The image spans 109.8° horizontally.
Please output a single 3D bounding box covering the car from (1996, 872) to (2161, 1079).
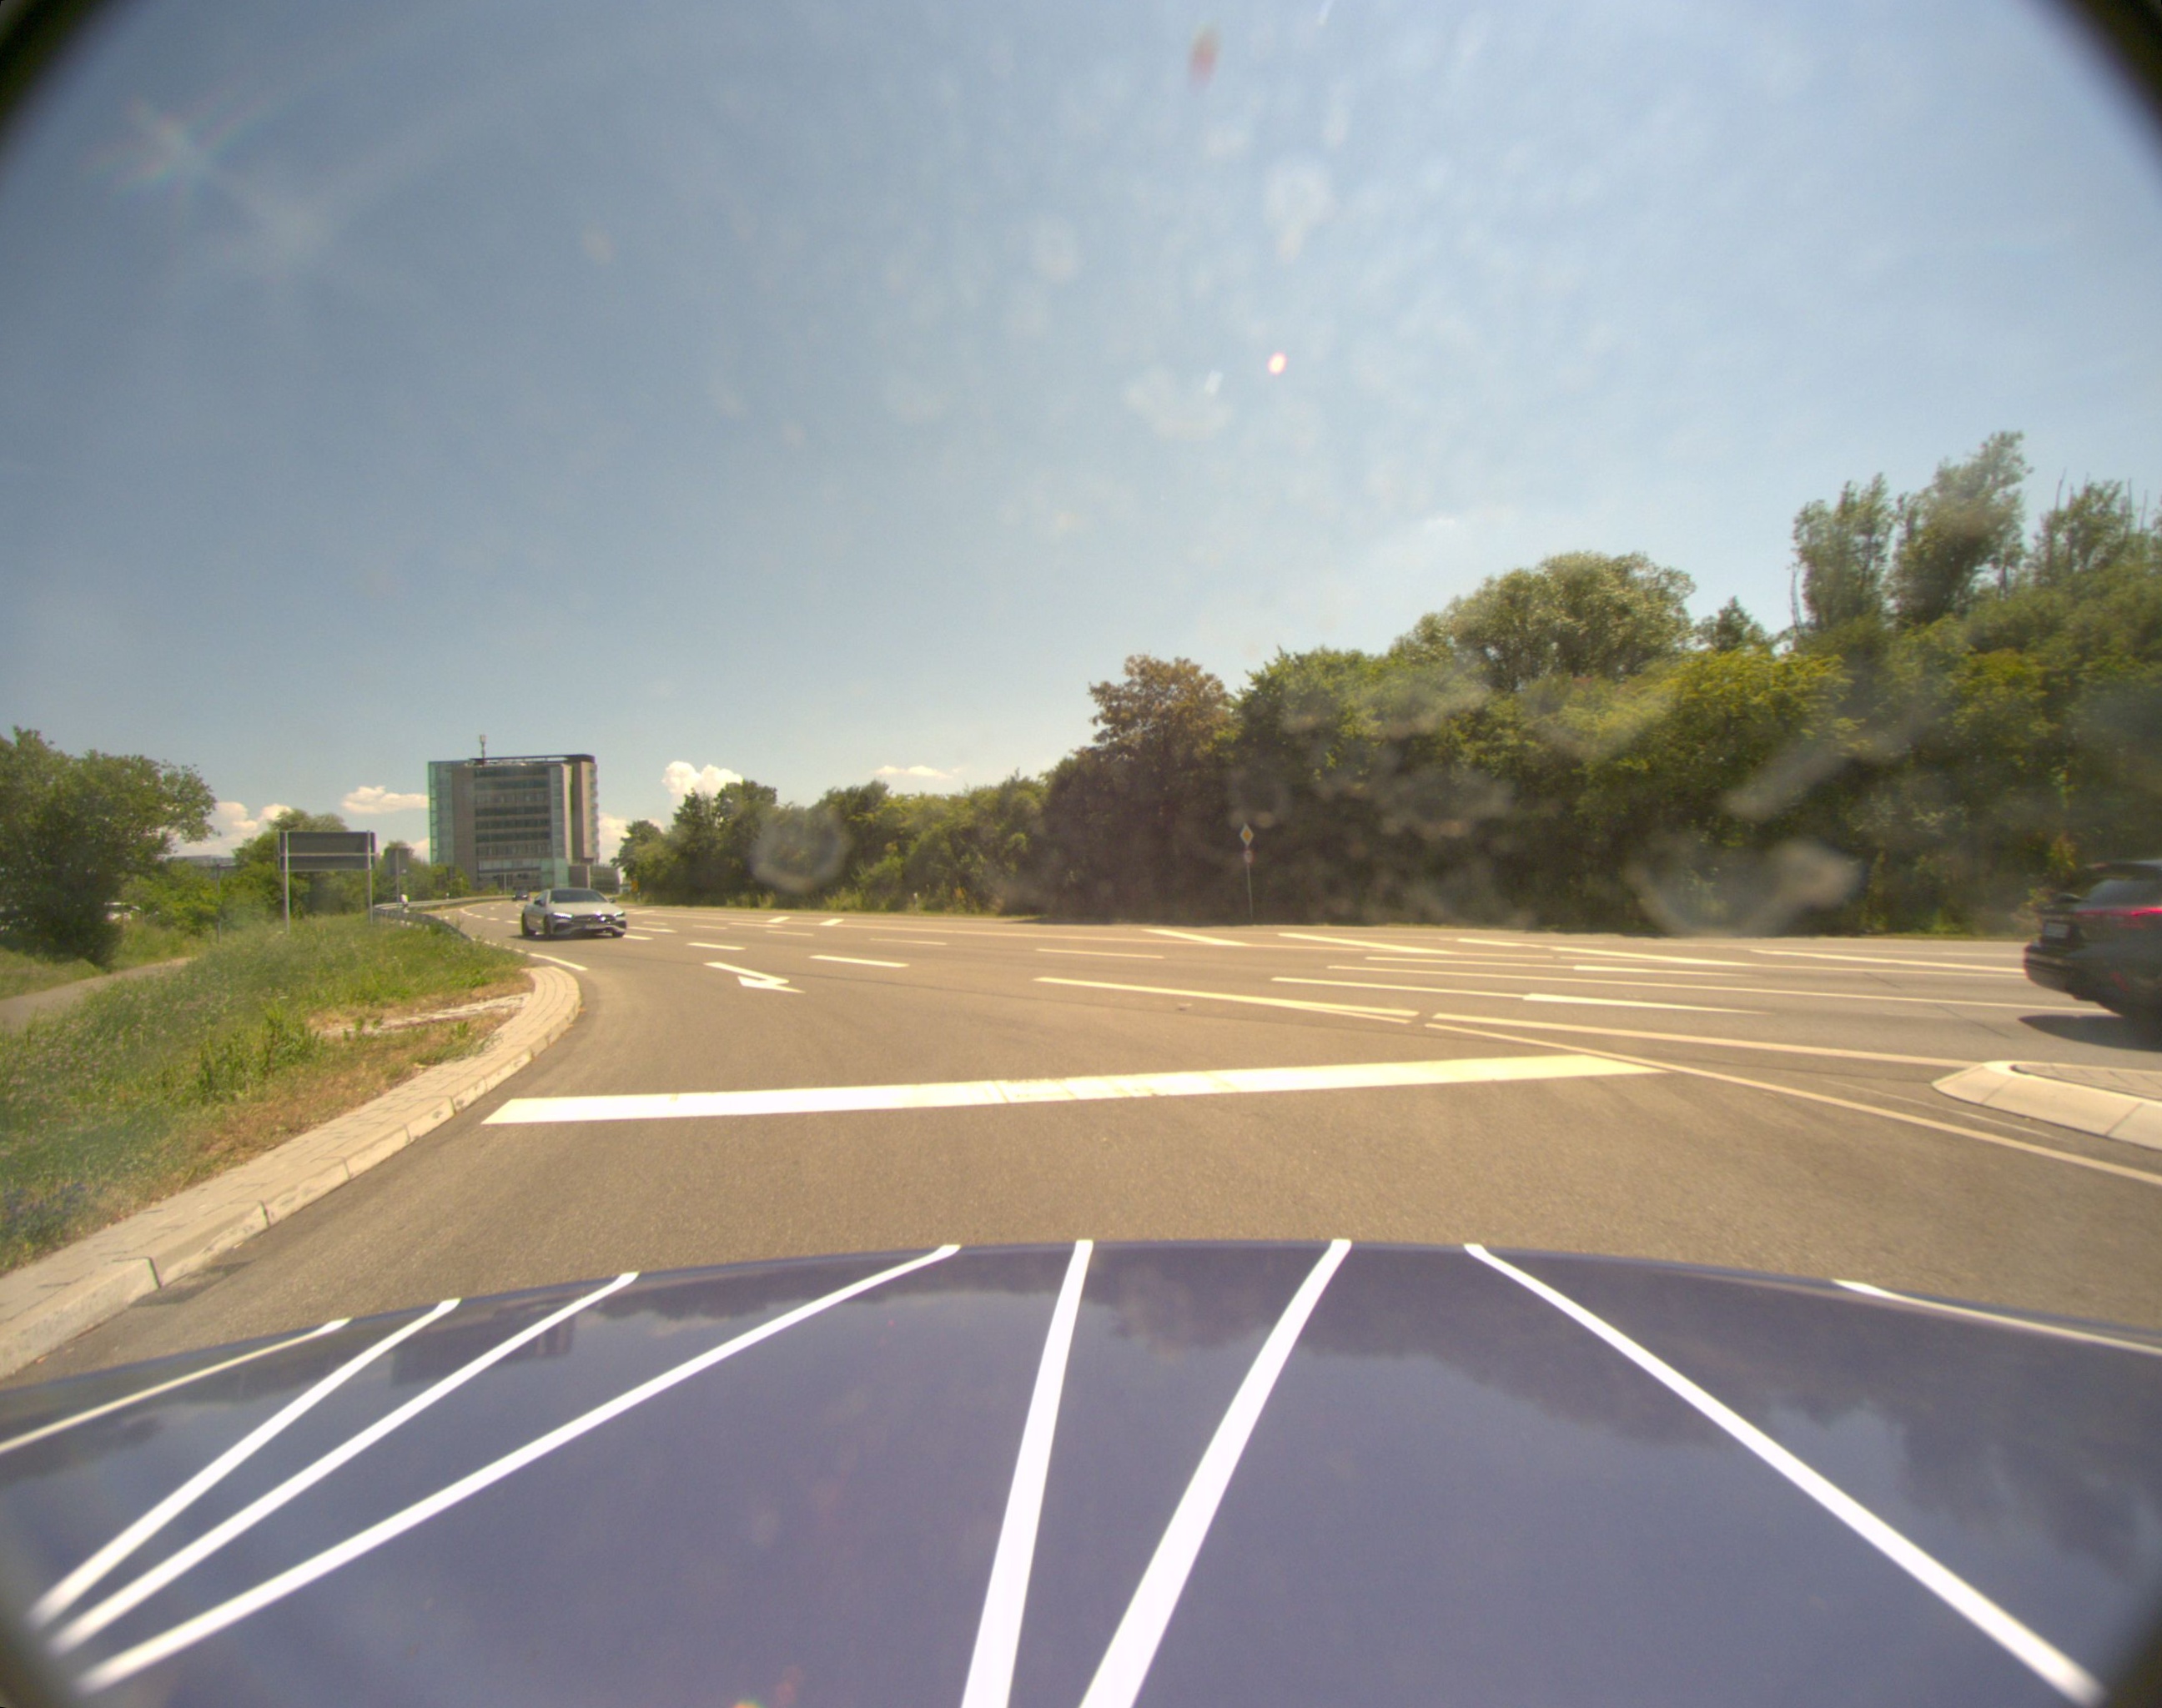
[{"bbox_3d":[9.448,0.803,4.882,4.287,1.433,1.743,-3,-3,41],"label":"car"}]

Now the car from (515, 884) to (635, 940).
[{"bbox_3d":[-14.730,1.714,22.018,4.471,1.432,1.928,-7,-6,43],"label":"car"}]

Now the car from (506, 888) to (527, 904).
[{"bbox_3d":[-75.012,5.564,100.940,2.004,2.001,3.989,1,-1,-40],"label":"car"}]

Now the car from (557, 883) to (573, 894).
[{"bbox_3d":[-97.017,6.526,142.869,2.003,2.001,3.991,0,-1,-28],"label":"car"}]
